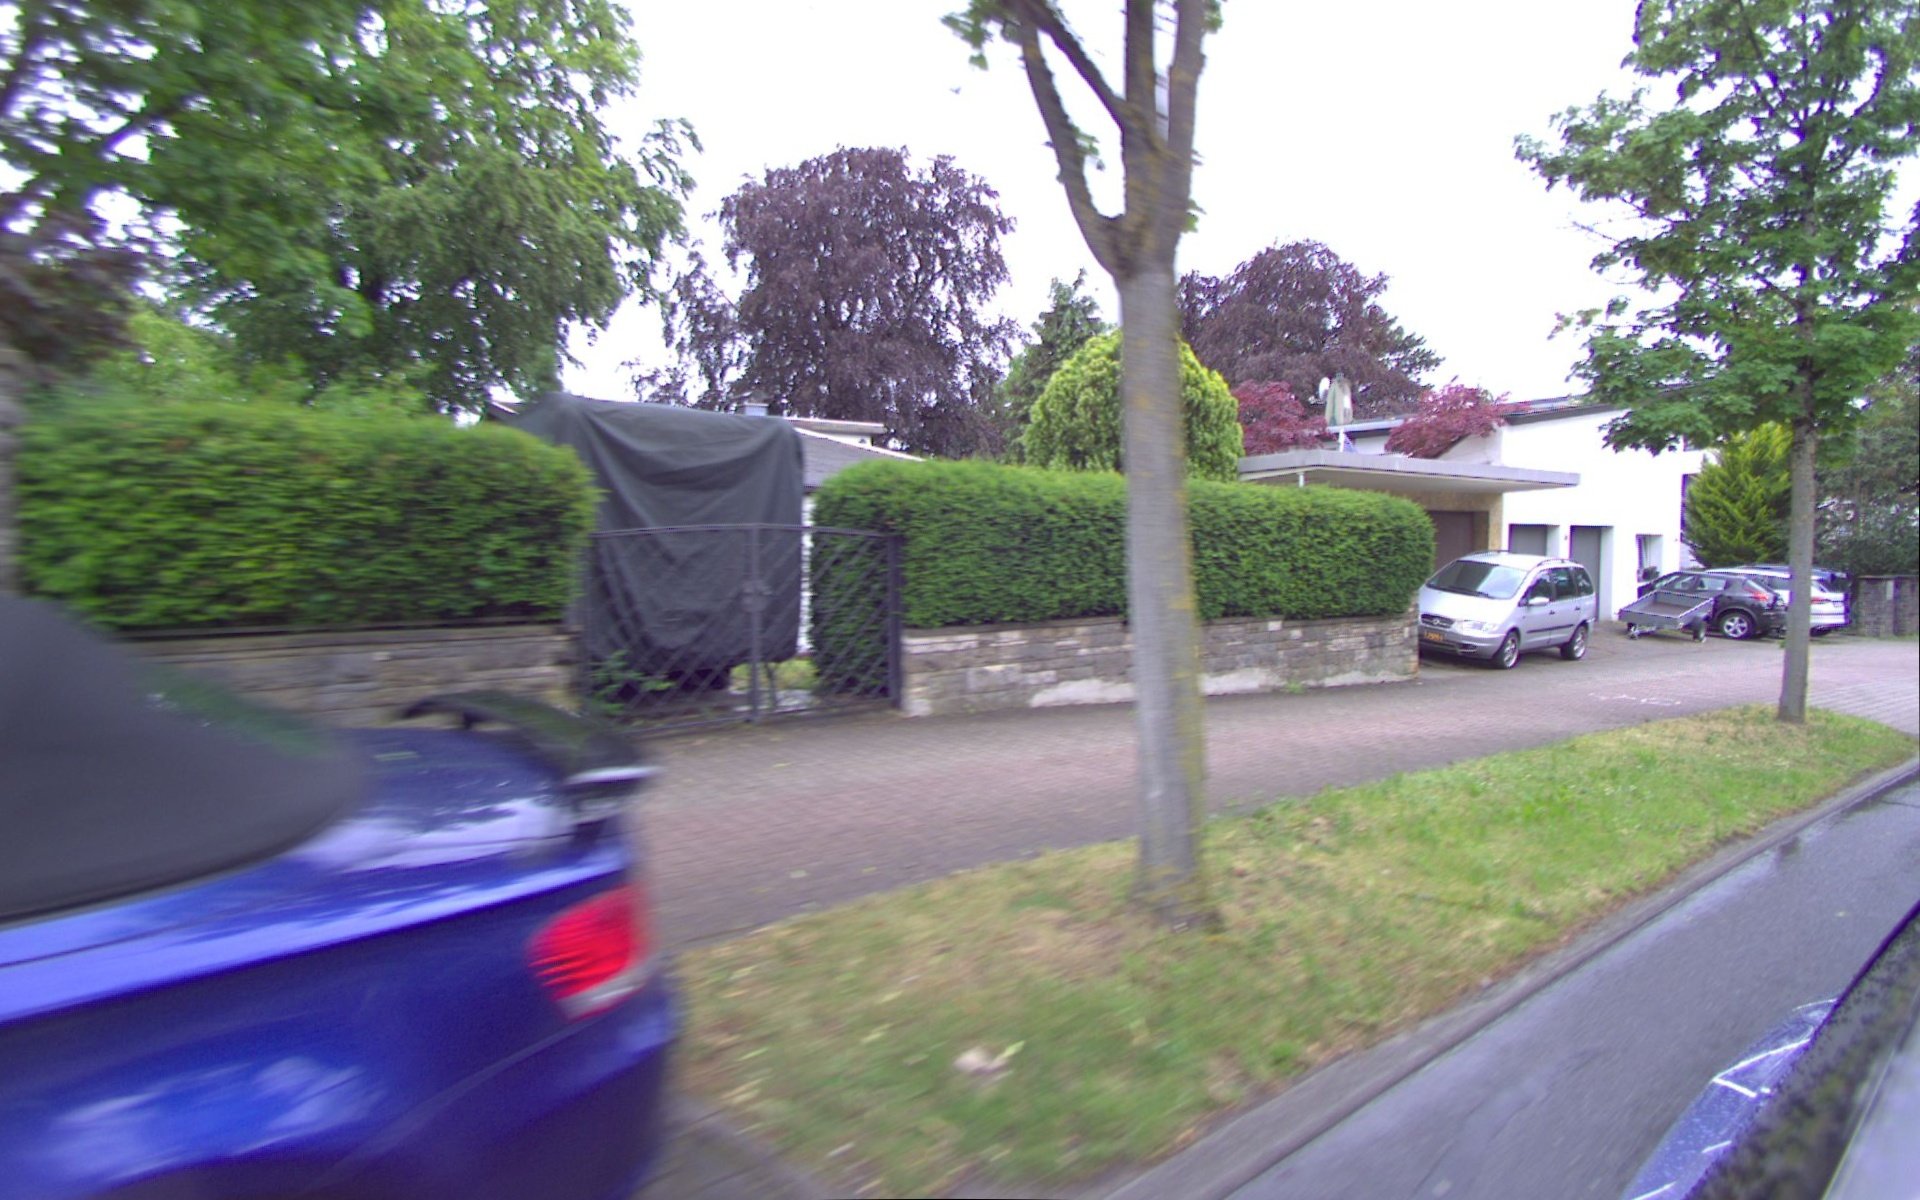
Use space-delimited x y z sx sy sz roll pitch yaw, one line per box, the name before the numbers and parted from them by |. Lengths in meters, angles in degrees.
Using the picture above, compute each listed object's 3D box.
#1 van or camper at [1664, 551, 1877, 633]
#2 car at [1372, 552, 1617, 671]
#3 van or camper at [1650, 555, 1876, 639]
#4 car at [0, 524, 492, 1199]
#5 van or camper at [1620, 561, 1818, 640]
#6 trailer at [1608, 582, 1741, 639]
van or camper | 22.216 -0.283 27.910 1.908 1.809 4.036 0 6 -30
car | 9.284 0.127 17.407 4.851 1.779 1.800 0 2 -37
van or camper | 20.601 -0.145 26.137 2.082 1.697 4.007 0 6 -33
car | -2.659 0.587 0.902 3.762 1.394 1.645 0 4 -41
van or camper | 18.293 -0.048 24.492 1.737 1.574 3.413 -1 5 -37
trailer | 15.958 0.203 22.568 3.215 0.931 1.426 -1 11 -38
